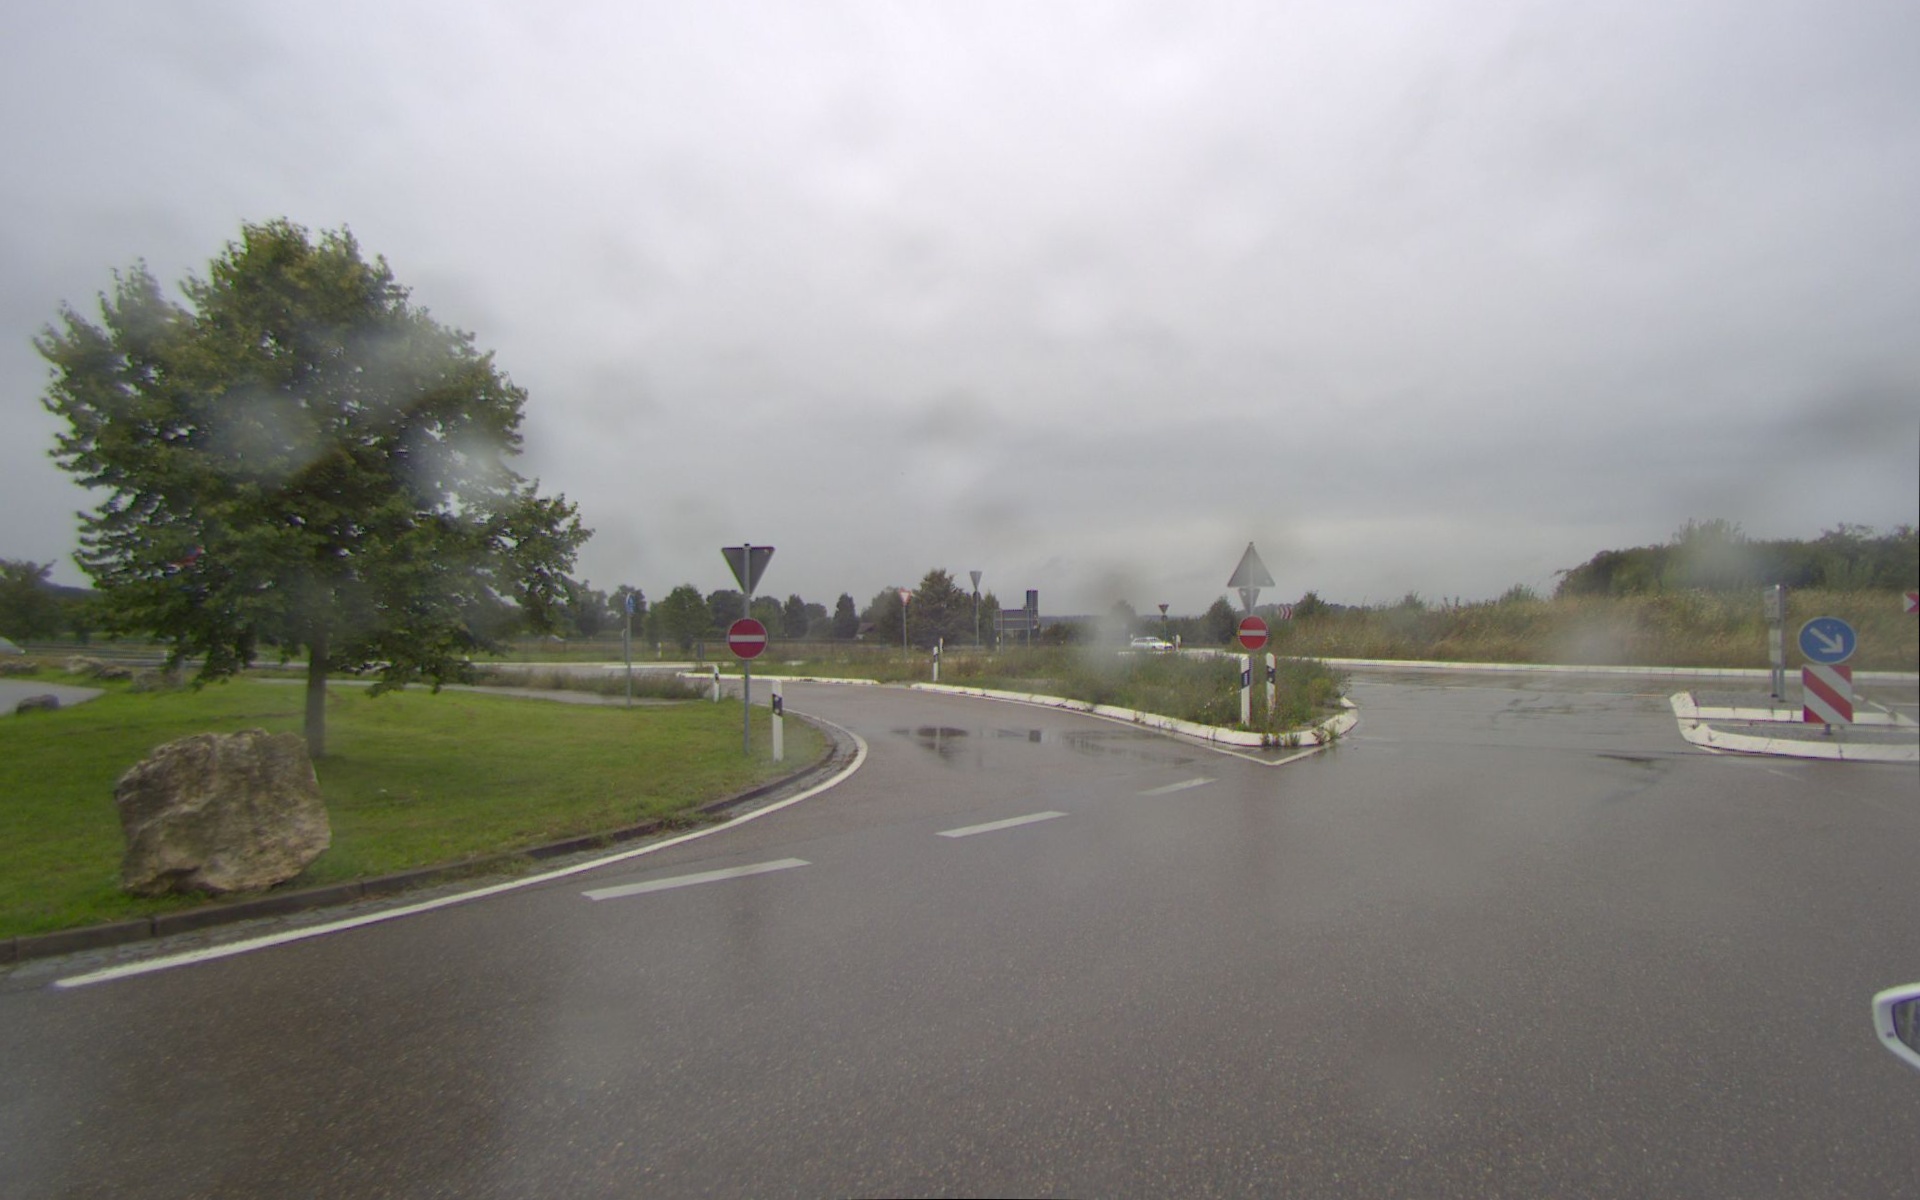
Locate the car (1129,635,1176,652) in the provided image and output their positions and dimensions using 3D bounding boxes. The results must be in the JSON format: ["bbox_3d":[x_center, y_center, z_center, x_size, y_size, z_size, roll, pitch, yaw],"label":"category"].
[{"bbox_3d":[16.578,3.790,86.678,1.632,1.445,4.289,1,-3,-28],"label":"car"}]

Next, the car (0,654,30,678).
[{"bbox_3d":[-60.441,4.146,63.021,3.682,1.472,1.587,-1,-2,21],"label":"car"}]
